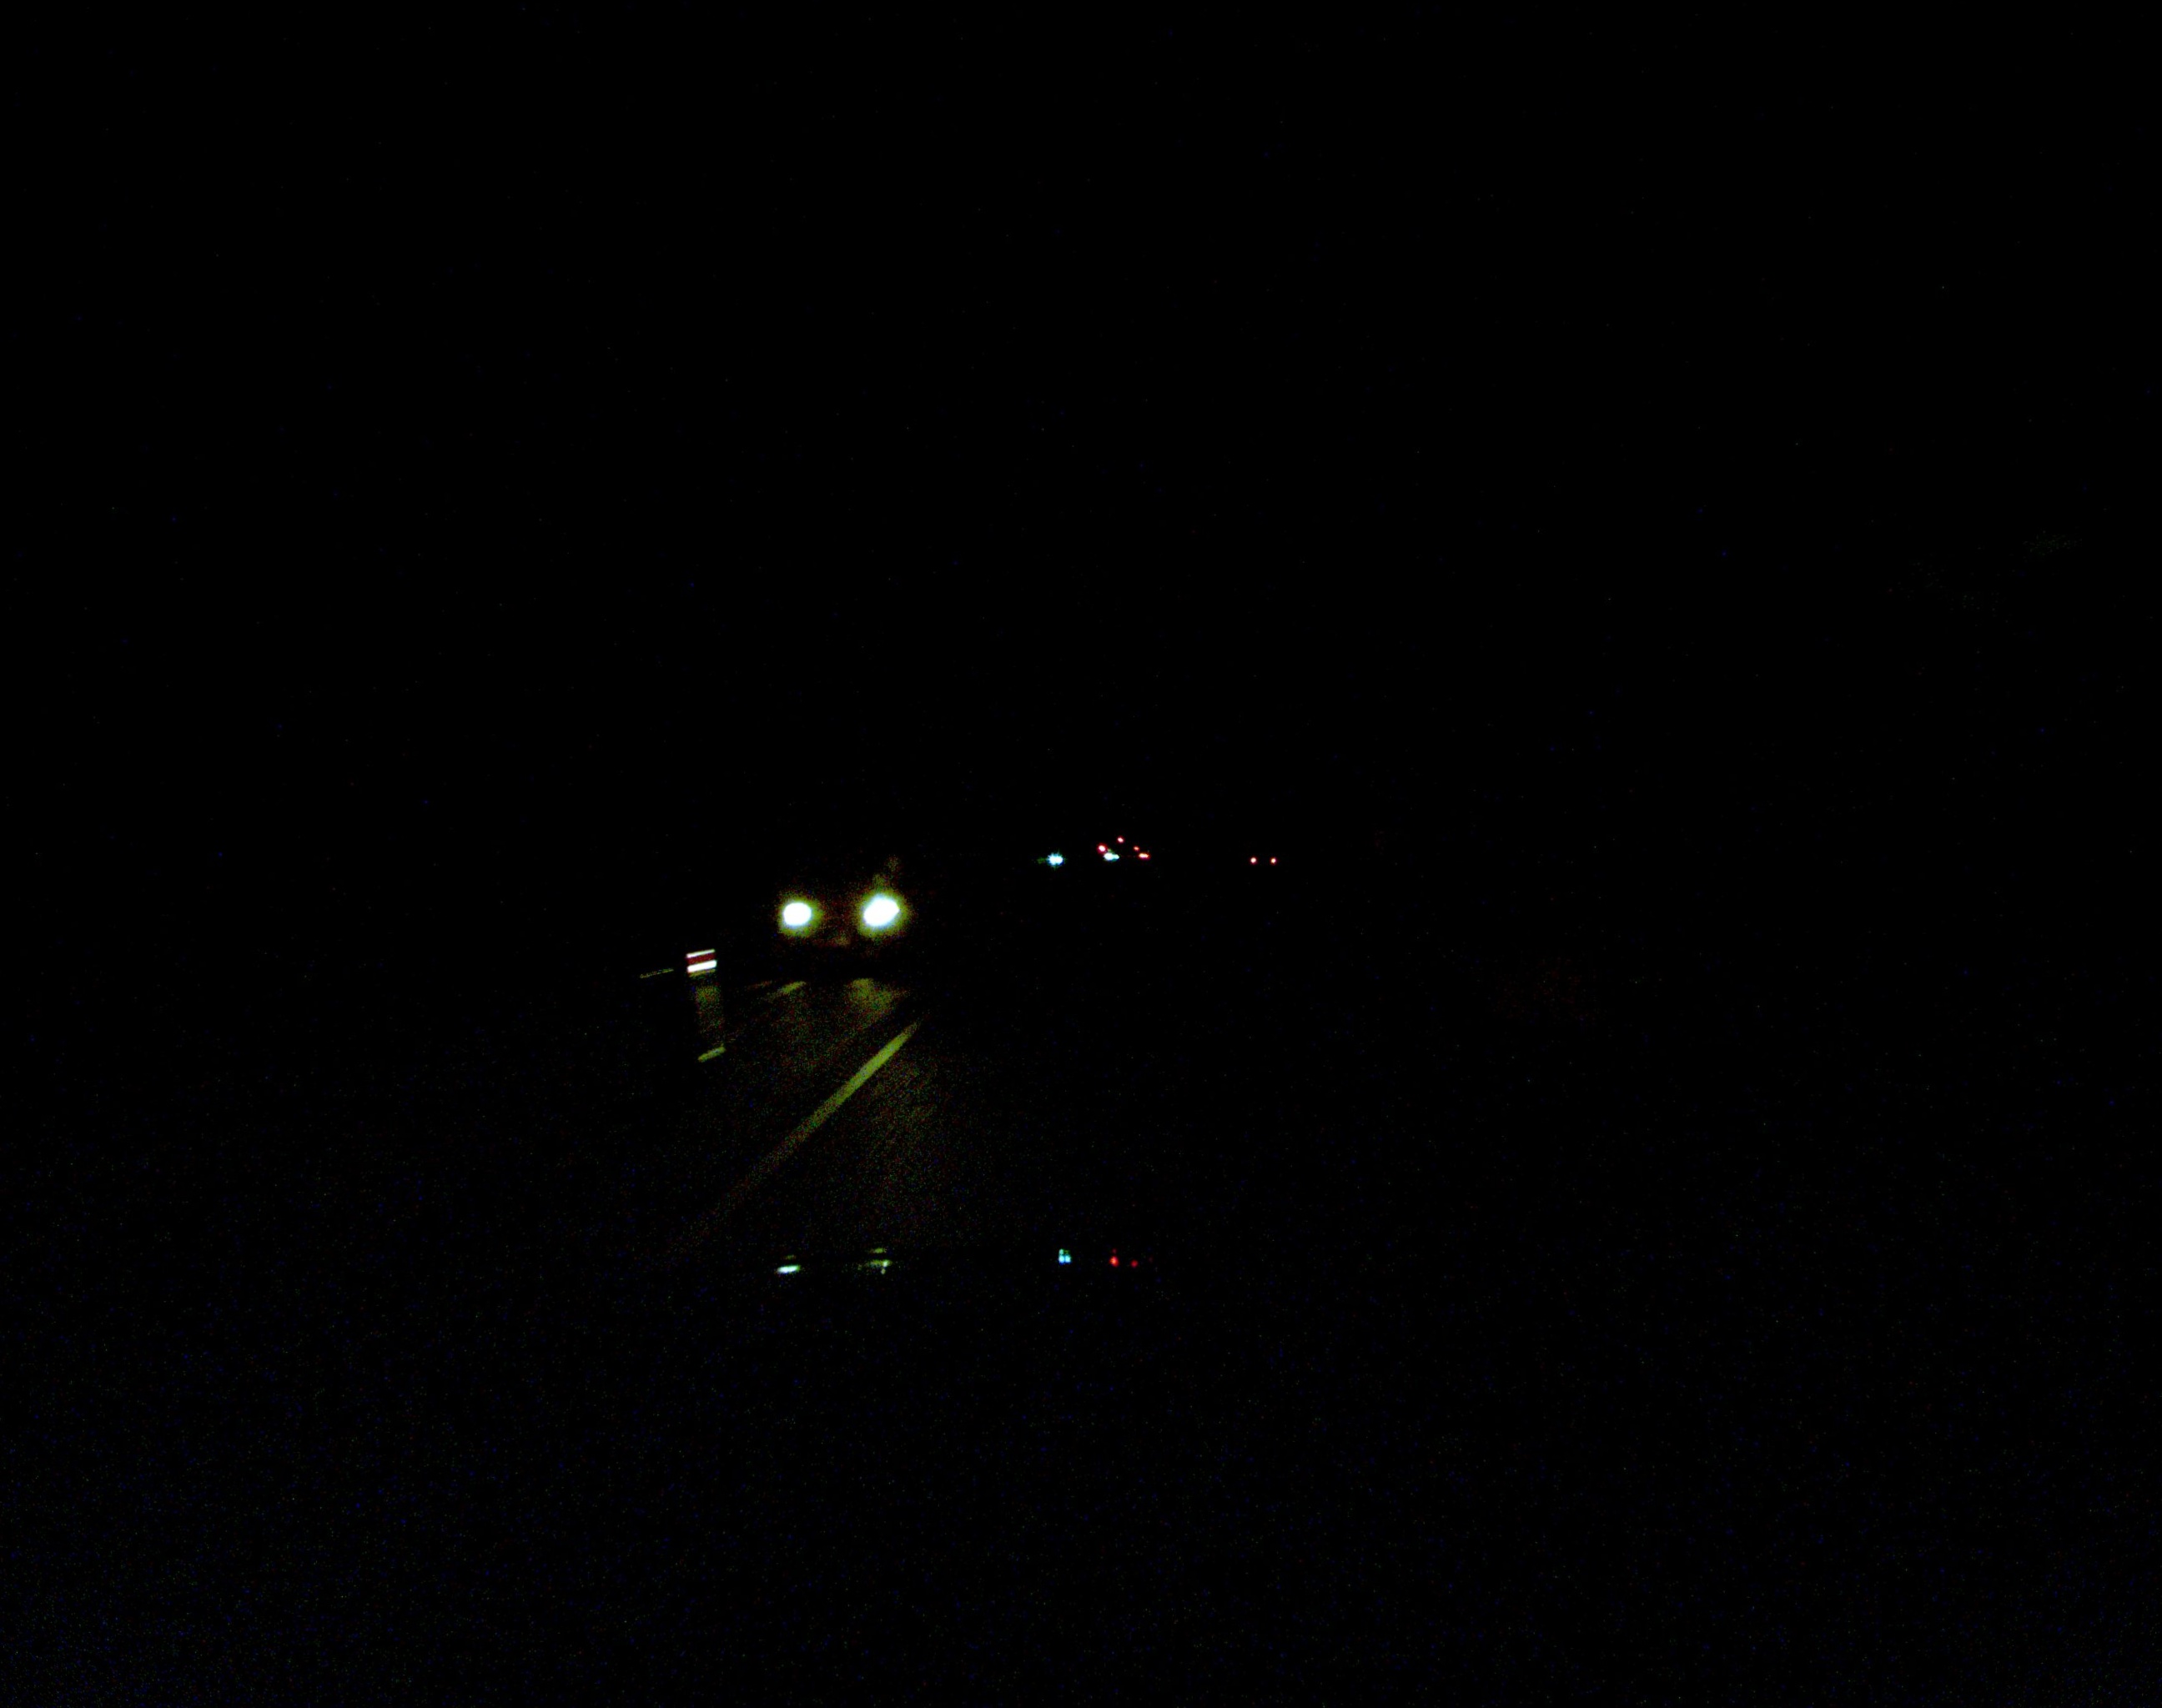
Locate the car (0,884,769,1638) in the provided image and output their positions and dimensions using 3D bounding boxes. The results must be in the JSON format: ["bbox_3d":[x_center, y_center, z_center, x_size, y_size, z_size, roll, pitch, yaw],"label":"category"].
[{"bbox_3d":[-3.226,0.989,3.491,1.762,1.451,4.192,-2,1,1],"label":"car"}]

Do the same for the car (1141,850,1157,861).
[{"bbox_3d":[10.723,0.228,119.877,2.127,1.621,4.698,0,1,1],"label":"car"}]

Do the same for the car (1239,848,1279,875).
[{"bbox_3d":[10.614,0.410,45.502,1.549,1.511,3.515,1,1,1],"label":"car"}]

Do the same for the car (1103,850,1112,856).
[{"bbox_3d":[6.220,-0.258,179.878,1.931,1.510,3.999,0,1,0],"label":"car"}]

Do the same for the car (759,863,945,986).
[{"bbox_3d":[-3.227,0.921,11.411,1.657,1.442,3.489,-2,1,1],"label":"car"}]

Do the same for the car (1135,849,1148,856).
[{"bbox_3d":[12.477,-0.312,157.176,2.127,1.545,4.696,0,1,-3],"label":"car"}]

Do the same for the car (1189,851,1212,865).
[{"bbox_3d":[12.990,0.406,82.765,1.958,1.478,4.699,1,1,3],"label":"car"}]

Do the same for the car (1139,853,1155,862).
[{"bbox_3d":[12.002,0.666,138.283,2.127,1.545,4.696,0,1,-3],"label":"car"}]
